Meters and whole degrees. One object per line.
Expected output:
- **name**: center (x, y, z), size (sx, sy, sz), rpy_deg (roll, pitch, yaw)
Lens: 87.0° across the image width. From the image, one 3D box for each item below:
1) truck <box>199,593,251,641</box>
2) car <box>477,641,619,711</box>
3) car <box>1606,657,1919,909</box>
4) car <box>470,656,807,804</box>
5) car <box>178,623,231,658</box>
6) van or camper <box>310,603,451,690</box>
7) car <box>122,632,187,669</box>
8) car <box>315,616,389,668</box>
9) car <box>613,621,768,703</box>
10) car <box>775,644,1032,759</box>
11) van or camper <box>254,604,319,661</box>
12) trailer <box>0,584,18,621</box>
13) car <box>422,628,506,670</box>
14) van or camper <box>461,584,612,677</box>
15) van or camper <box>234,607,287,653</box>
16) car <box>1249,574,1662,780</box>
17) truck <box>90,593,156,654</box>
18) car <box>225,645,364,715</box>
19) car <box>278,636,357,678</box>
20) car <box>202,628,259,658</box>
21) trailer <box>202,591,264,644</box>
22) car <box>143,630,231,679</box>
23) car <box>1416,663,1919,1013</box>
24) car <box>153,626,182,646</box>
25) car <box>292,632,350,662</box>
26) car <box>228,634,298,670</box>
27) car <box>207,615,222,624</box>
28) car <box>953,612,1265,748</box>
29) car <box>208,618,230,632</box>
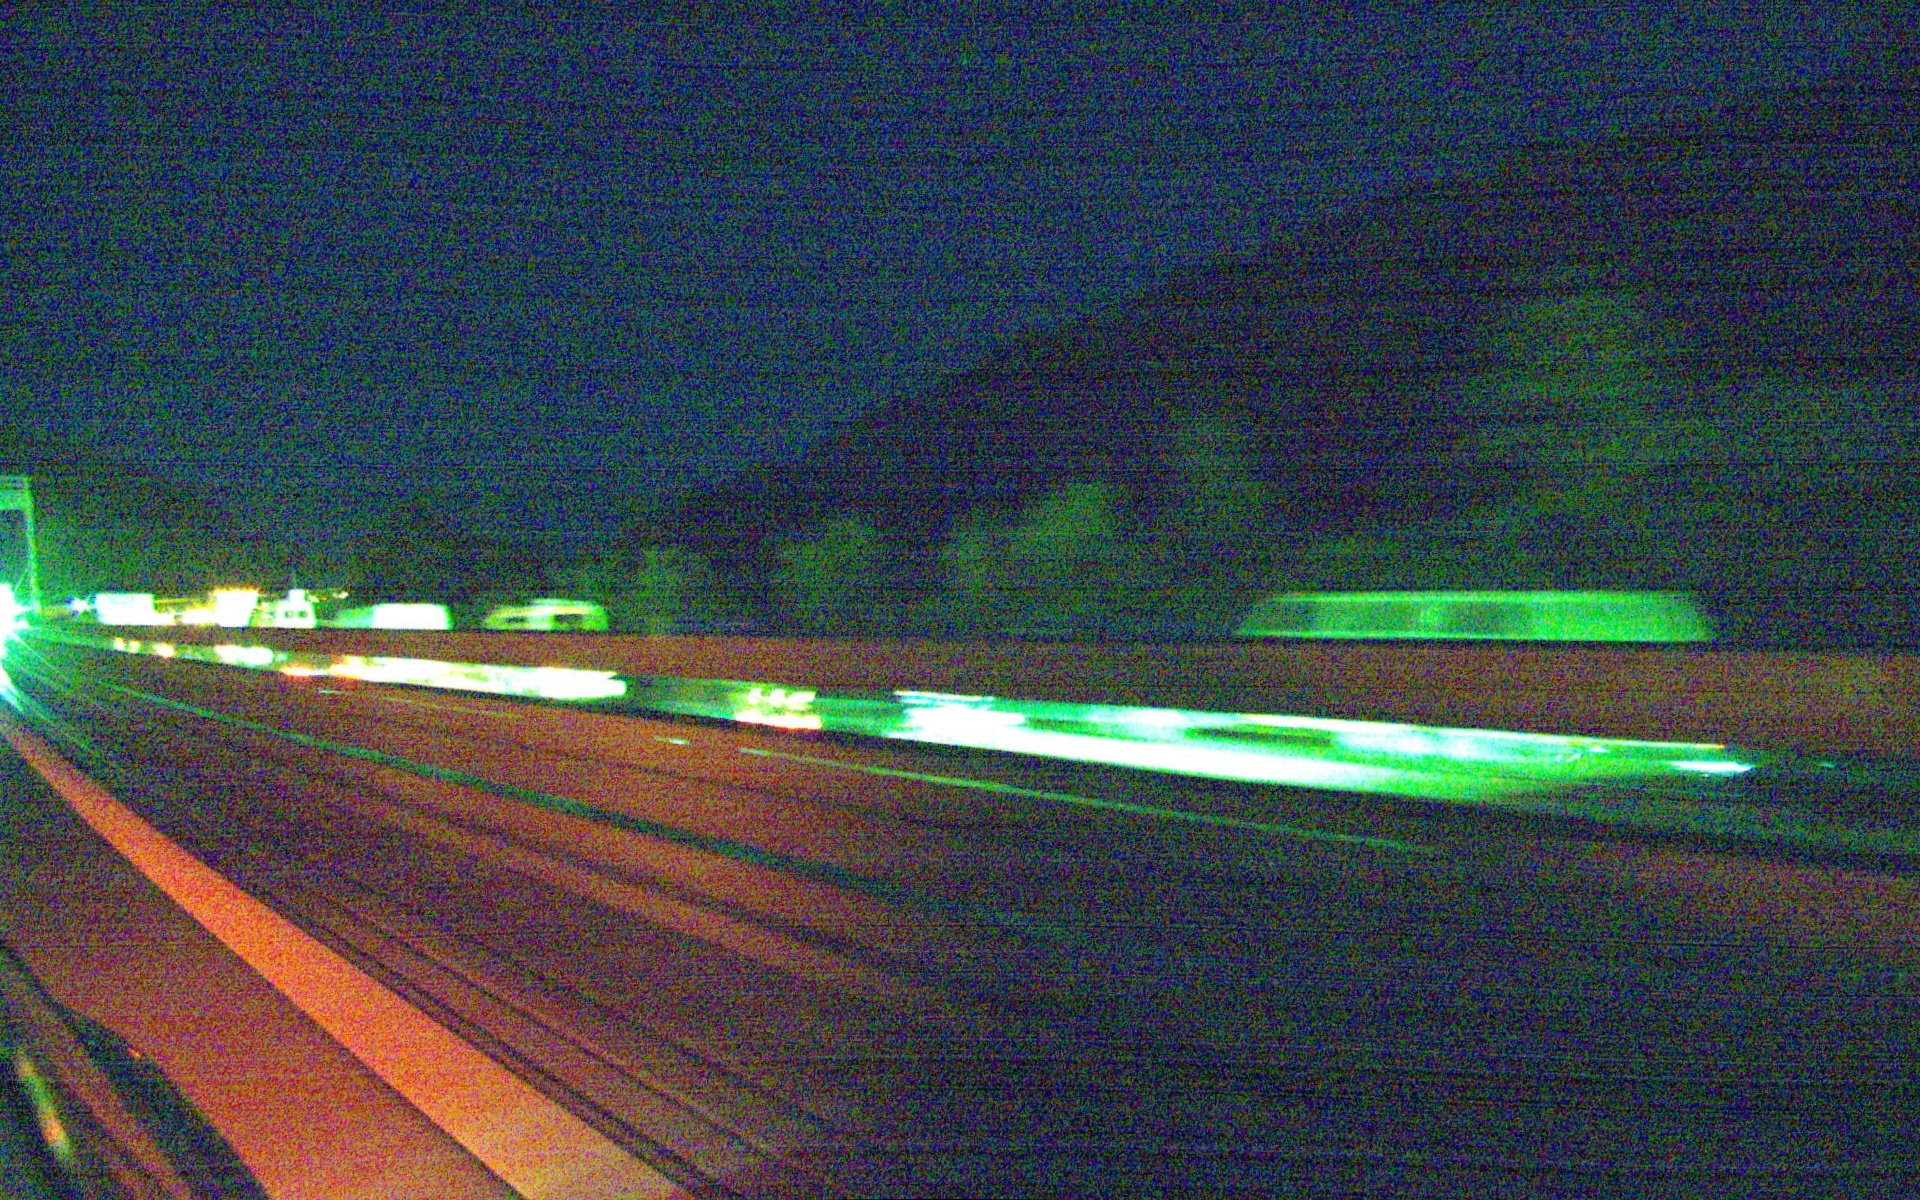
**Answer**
- **truck**: center (-67.559, 1.525, 92.977), size (3.375, 4.255, 6.293), rpy_deg (1, -1, -40)
- **car**: center (-10.106, 1.794, 24.720), size (3.840, 1.464, 1.729), rpy_deg (0, -1, 43)
- **car**: center (7.608, 1.387, 7.974), size (4.000, 1.757, 1.719), rpy_deg (-1, -2, 43)
- **car**: center (-4.023, 1.412, 12.213), size (4.632, 1.365, 1.736), rpy_deg (-2, -2, 41)
- **car**: center (-47.318, 2.514, 63.335), size (4.000, 2.029, 1.972), rpy_deg (-1, 0, 43)
- **van or camper**: center (-19.314, 1.461, 33.540), size (6.688, 2.615, 2.230), rpy_deg (-1, -2, 44)
- **car**: center (-35.925, 2.228, 45.100), size (1.798, 1.462, 4.507), rpy_deg (1, -1, -45)
- **car**: center (-29.601, 1.985, 49.195), size (1.813, 2.388, 5.450), rpy_deg (1, -1, -45)
- **car**: center (-7.248, 1.563, 26.970), size (4.564, 1.937, 1.819), rpy_deg (0, -1, 43)
- **car**: center (-0.970, 1.462, 15.713), size (4.072, 1.490, 1.589), rpy_deg (-1, -2, 42)
- **van or camper**: center (-41.961, 1.966, 62.975), size (5.697, 3.405, 2.243), rpy_deg (-1, -1, 45)
- **trailer**: center (-107.259, 0.297, 111.656), size (2.795, 4.004, 15.802), rpy_deg (-2, 1, -36)
- **car**: center (-20.970, 2.025, 42.710), size (1.813, 1.621, 4.507), rpy_deg (1, -1, -45)
- **van or camper**: center (-14.121, 0.952, 33.502), size (2.417, 2.782, 6.493), rpy_deg (1, -1, -44)
- **van or camper**: center (-46.951, 1.951, 67.883), size (1.813, 2.994, 6.403), rpy_deg (1, -1, -45)
- **car**: center (6.468, 0.922, 13.512), size (4.561, 2.285, 2.109), rpy_deg (-2, -2, 41)
- **truck**: center (-53.515, 1.421, 64.606), size (2.623, 3.618, 8.557), rpy_deg (-2, 1, -44)
- **car**: center (-16.860, 1.937, 25.549), size (4.712, 1.557, 1.736), rpy_deg (-2, -2, 41)
- **car**: center (-26.237, 2.278, 41.284), size (1.798, 1.526, 4.507), rpy_deg (1, -1, -45)
- **car**: center (-39.642, 2.294, 54.965), size (1.813, 1.462, 4.507), rpy_deg (1, -1, -45)
- **trailer**: center (-62.646, 1.482, 87.069), size (3.392, 4.273, 12.853), rpy_deg (1, -1, -40)
- **car**: center (-26.476, 1.819, 34.618), size (1.813, 1.462, 4.507), rpy_deg (1, -1, -45)
- **car**: center (4.672, 1.037, 4.755), size (4.289, 1.365, 1.736), rpy_deg (-2, -2, 41)
- **car**: center (-61.671, 2.803, 78.738), size (1.581, 1.453, 4.005), rpy_deg (1, -1, -41)
- **car**: center (-34.588, 2.534, 54.774), size (1.813, 1.462, 4.003), rpy_deg (1, -1, -45)
- **car**: center (-31.658, 2.303, 45.909), size (1.813, 1.462, 4.507), rpy_deg (1, -1, -45)
- **car**: center (-121.862, 3.209, 165.446), size (1.792, 1.480, 4.290), rpy_deg (0, 0, -35)
- **car**: center (2.383, 1.227, 17.146), size (4.984, 1.974, 1.973), rpy_deg (-1, -2, 41)
- **car**: center (-79.085, 2.627, 107.979), size (1.581, 1.453, 4.005), rpy_deg (1, -1, -41)
